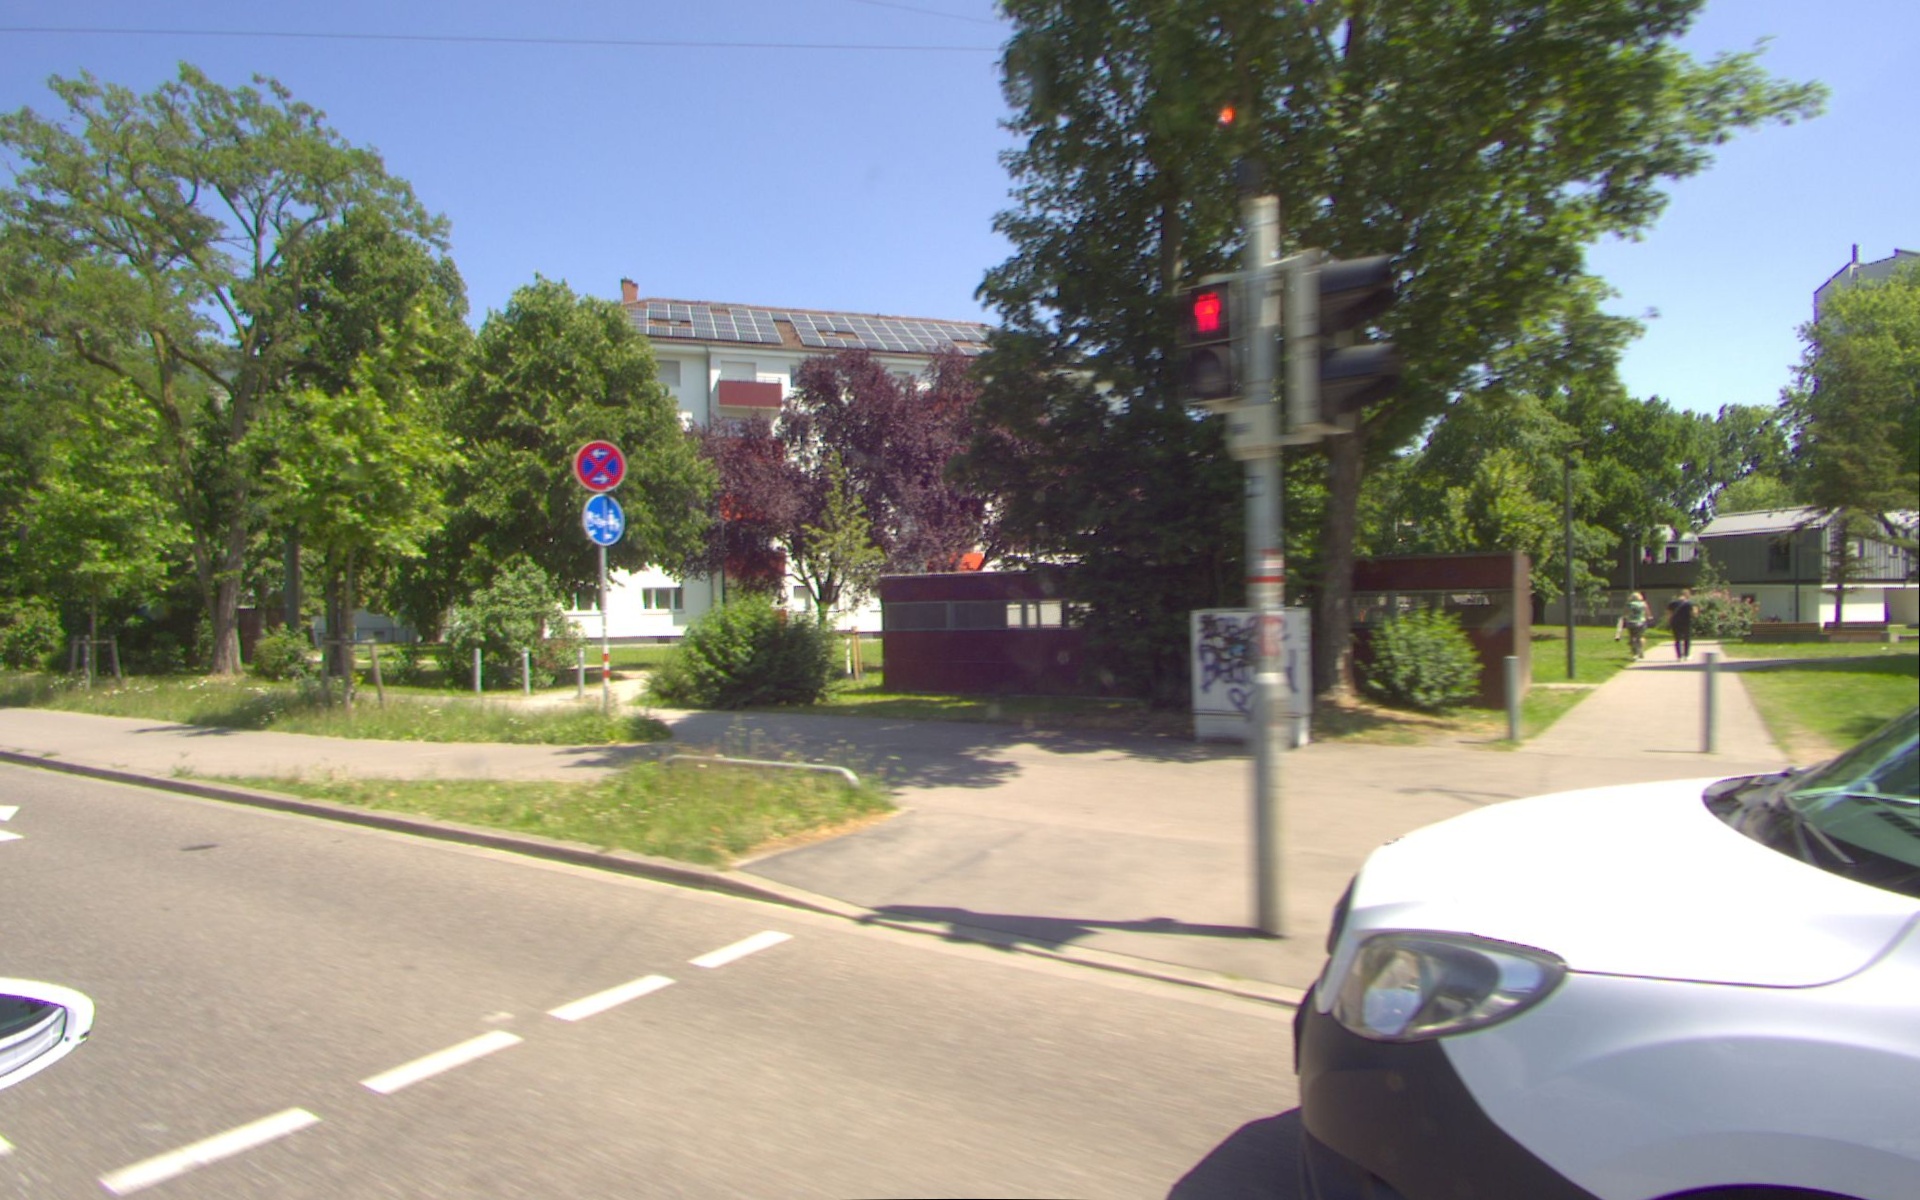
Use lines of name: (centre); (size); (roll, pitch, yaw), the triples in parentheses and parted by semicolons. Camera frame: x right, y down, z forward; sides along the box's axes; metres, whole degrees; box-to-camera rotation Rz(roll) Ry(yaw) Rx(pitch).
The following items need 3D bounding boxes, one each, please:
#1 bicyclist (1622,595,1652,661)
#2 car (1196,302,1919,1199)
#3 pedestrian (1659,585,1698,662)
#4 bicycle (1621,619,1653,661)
bicyclist: (17.612, 0.725, 26.051); (0.644, 1.680, 0.609); (-1, -1, 35)
car: (3.004, 0.557, 1.199); (5.010, 1.879, 1.802); (-1, -2, 33)
pedestrian: (18.406, 0.613, 25.663); (0.745, 1.943, 0.884); (-1, -1, 33)
bicycle: (17.568, 1.034, 25.973); (0.667, 1.057, 1.115); (-1, -2, 35)
